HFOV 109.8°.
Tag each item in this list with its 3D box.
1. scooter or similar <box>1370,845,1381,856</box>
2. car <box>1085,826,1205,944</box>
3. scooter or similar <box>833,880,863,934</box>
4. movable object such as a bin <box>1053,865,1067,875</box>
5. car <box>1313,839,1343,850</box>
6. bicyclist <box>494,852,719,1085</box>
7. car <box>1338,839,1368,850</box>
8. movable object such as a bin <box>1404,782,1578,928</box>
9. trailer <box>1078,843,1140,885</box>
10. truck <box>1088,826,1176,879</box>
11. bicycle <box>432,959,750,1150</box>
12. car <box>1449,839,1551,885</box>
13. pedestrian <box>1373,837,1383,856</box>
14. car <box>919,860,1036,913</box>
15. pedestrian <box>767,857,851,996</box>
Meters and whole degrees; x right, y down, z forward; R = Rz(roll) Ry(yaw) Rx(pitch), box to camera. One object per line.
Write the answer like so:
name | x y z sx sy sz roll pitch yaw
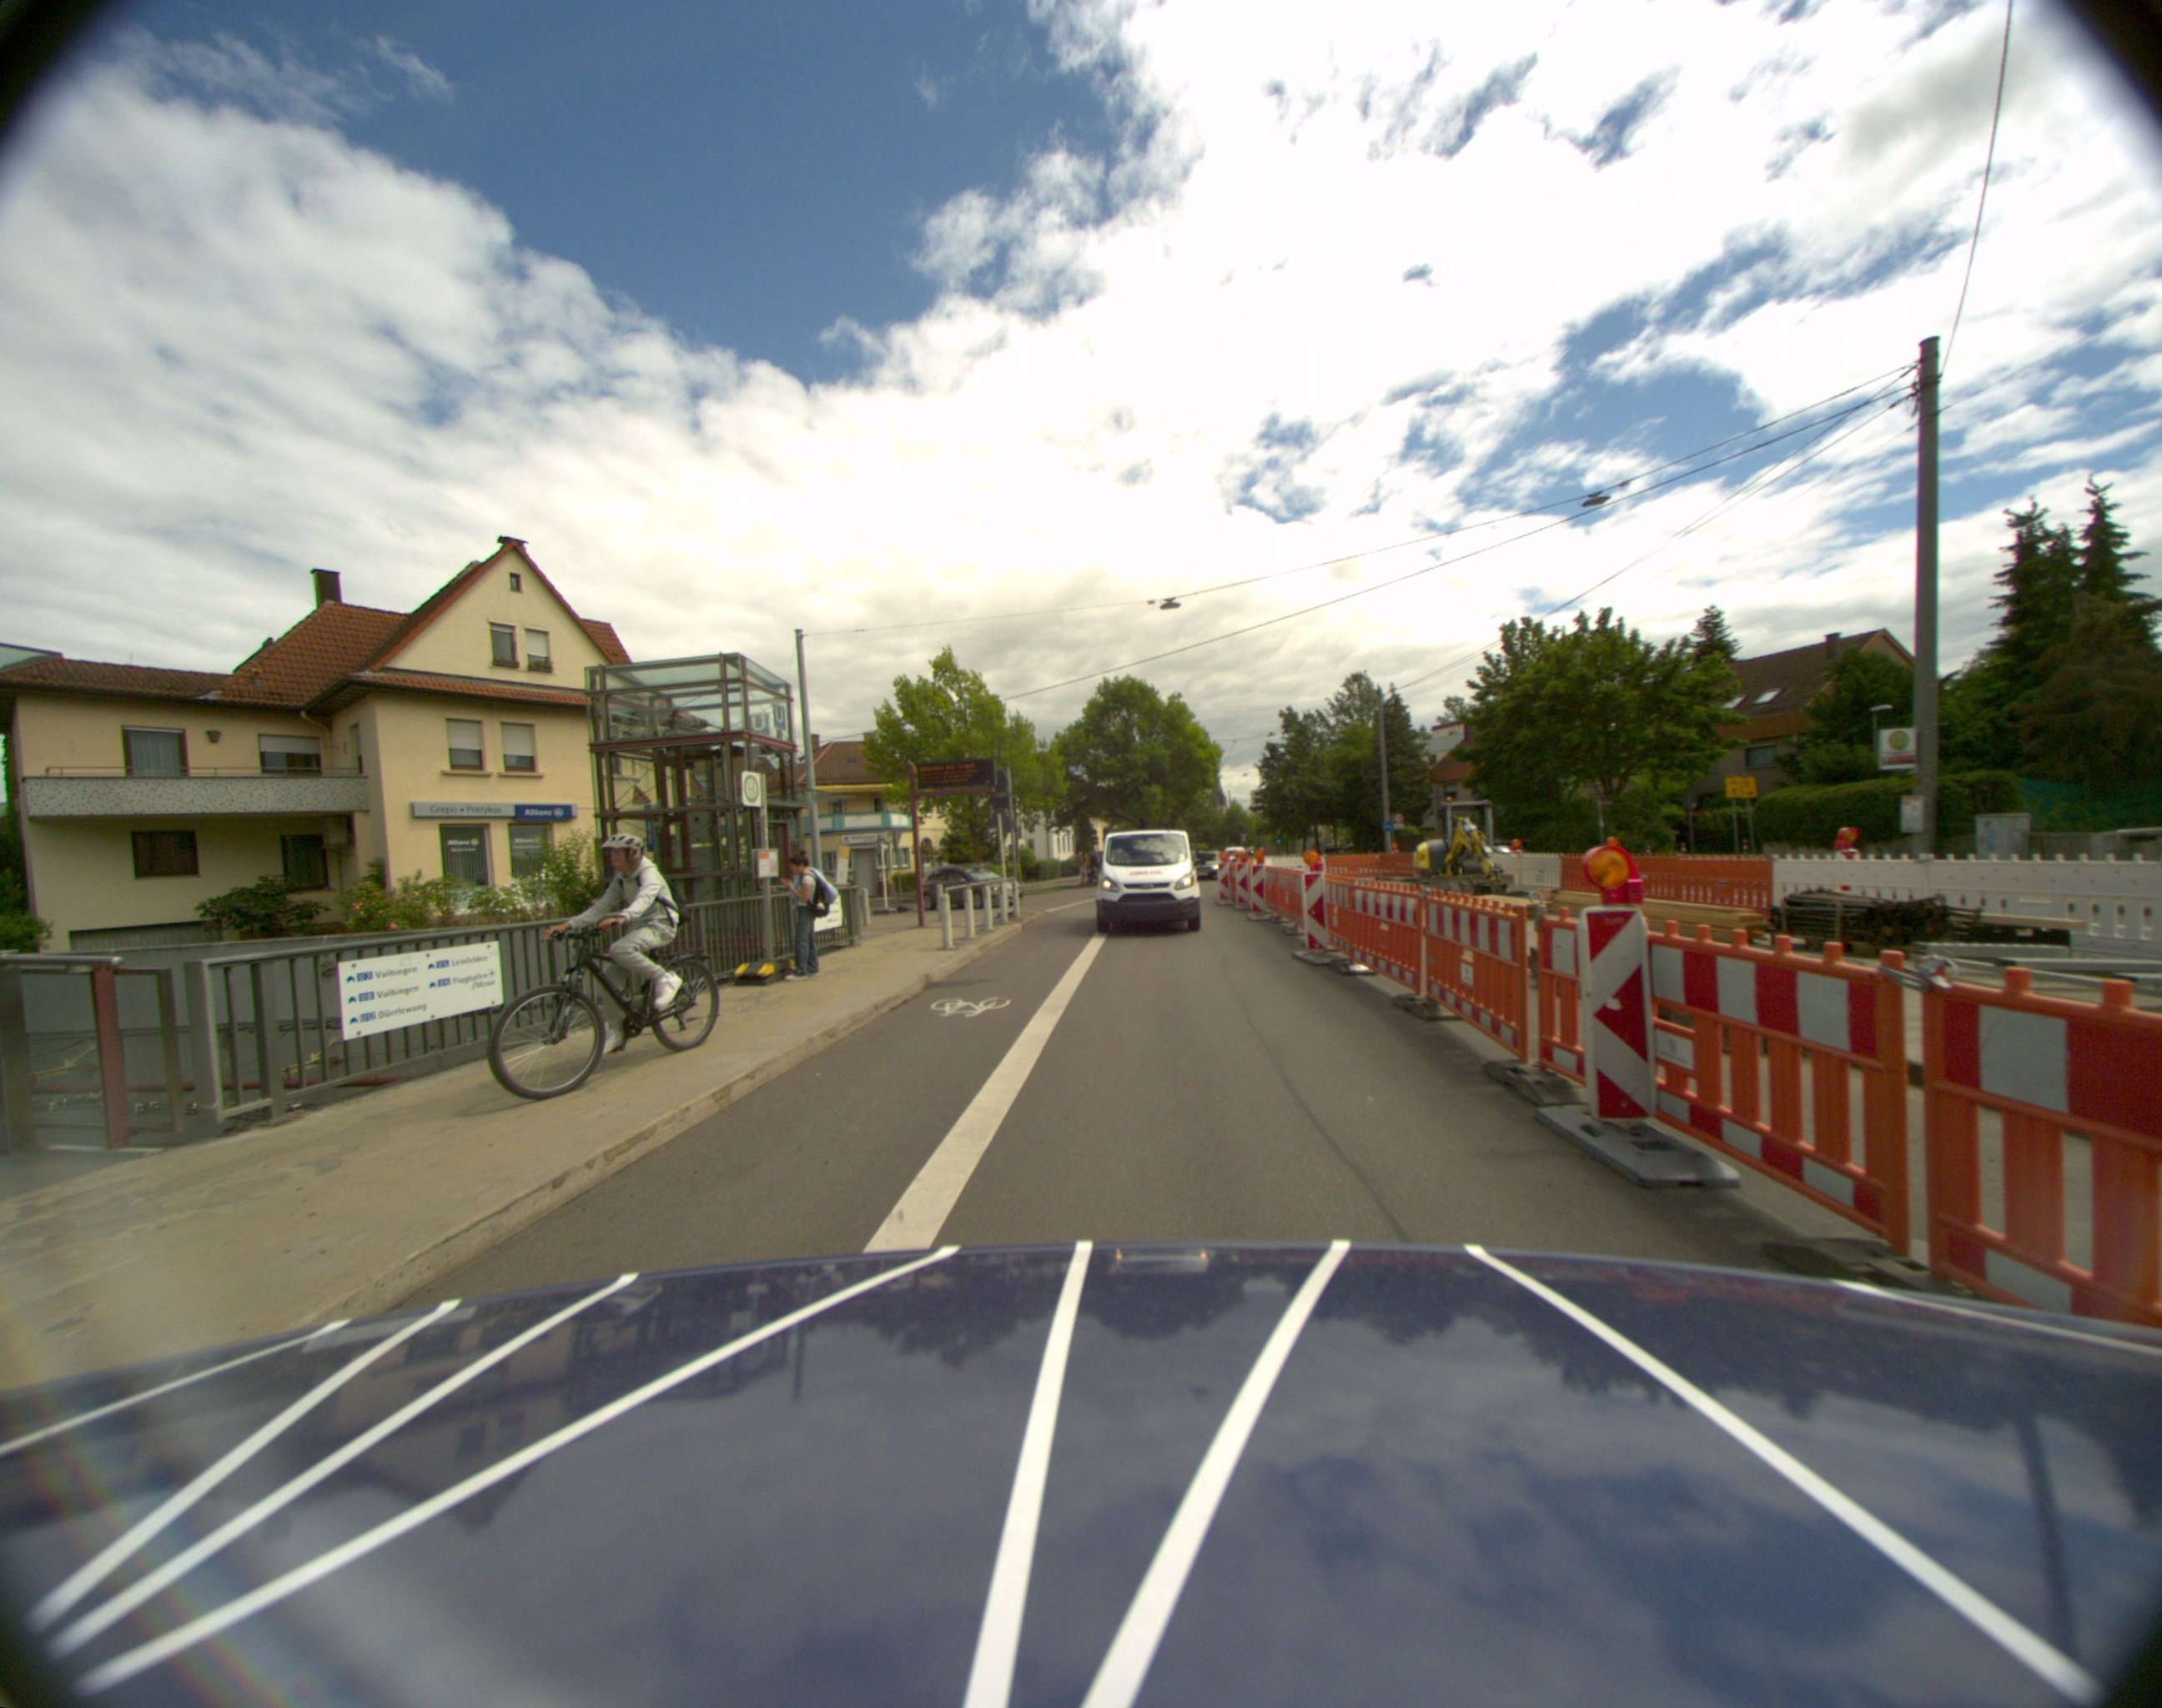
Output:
scooter or similar | 23.206 -0.292 59.847 0.637 0.859 1.031 -3 0 12
car | 1.575 0.491 16.358 1.997 2.002 5.516 -4 1 9
scooter or similar | -4.931 1.119 16.114 0.216 1.105 0.947 -2 -2 7
movable object such as a bin | -2.101 1.571 76.663 1.120 0.935 0.823 -3 0 13
car | 38.222 -1.455 117.643 4.002 1.499 1.997 -4 0 -17
bicyclist | -3.203 0.709 5.261 0.657 1.407 1.179 -3 0 6
car | 42.844 -1.524 119.665 4.001 1.499 1.998 -4 0 -14
movable object such as a bin | 8.837 -0.019 17.096 1.996 2.610 6.529 -2 1 16
trailer | 1.864 0.577 47.563 2.596 2.232 5.679 -5 0 14
truck | 3.615 -0.032 55.368 2.347 3.178 6.618 -3 -3 -38
bicycle | -3.150 1.250 5.209 0.637 0.749 2.063 -3 0 6
car | 15.607 0.254 28.597 1.858 1.504 4.443 -2 0 8
pedestrian | 23.053 -0.580 59.007 0.555 1.472 0.642 -3 1 11
car | -3.736 1.175 27.071 3.990 1.615 1.873 -5 0 42
pedestrian | -3.296 0.871 9.234 0.599 1.574 0.401 -9 2 6
